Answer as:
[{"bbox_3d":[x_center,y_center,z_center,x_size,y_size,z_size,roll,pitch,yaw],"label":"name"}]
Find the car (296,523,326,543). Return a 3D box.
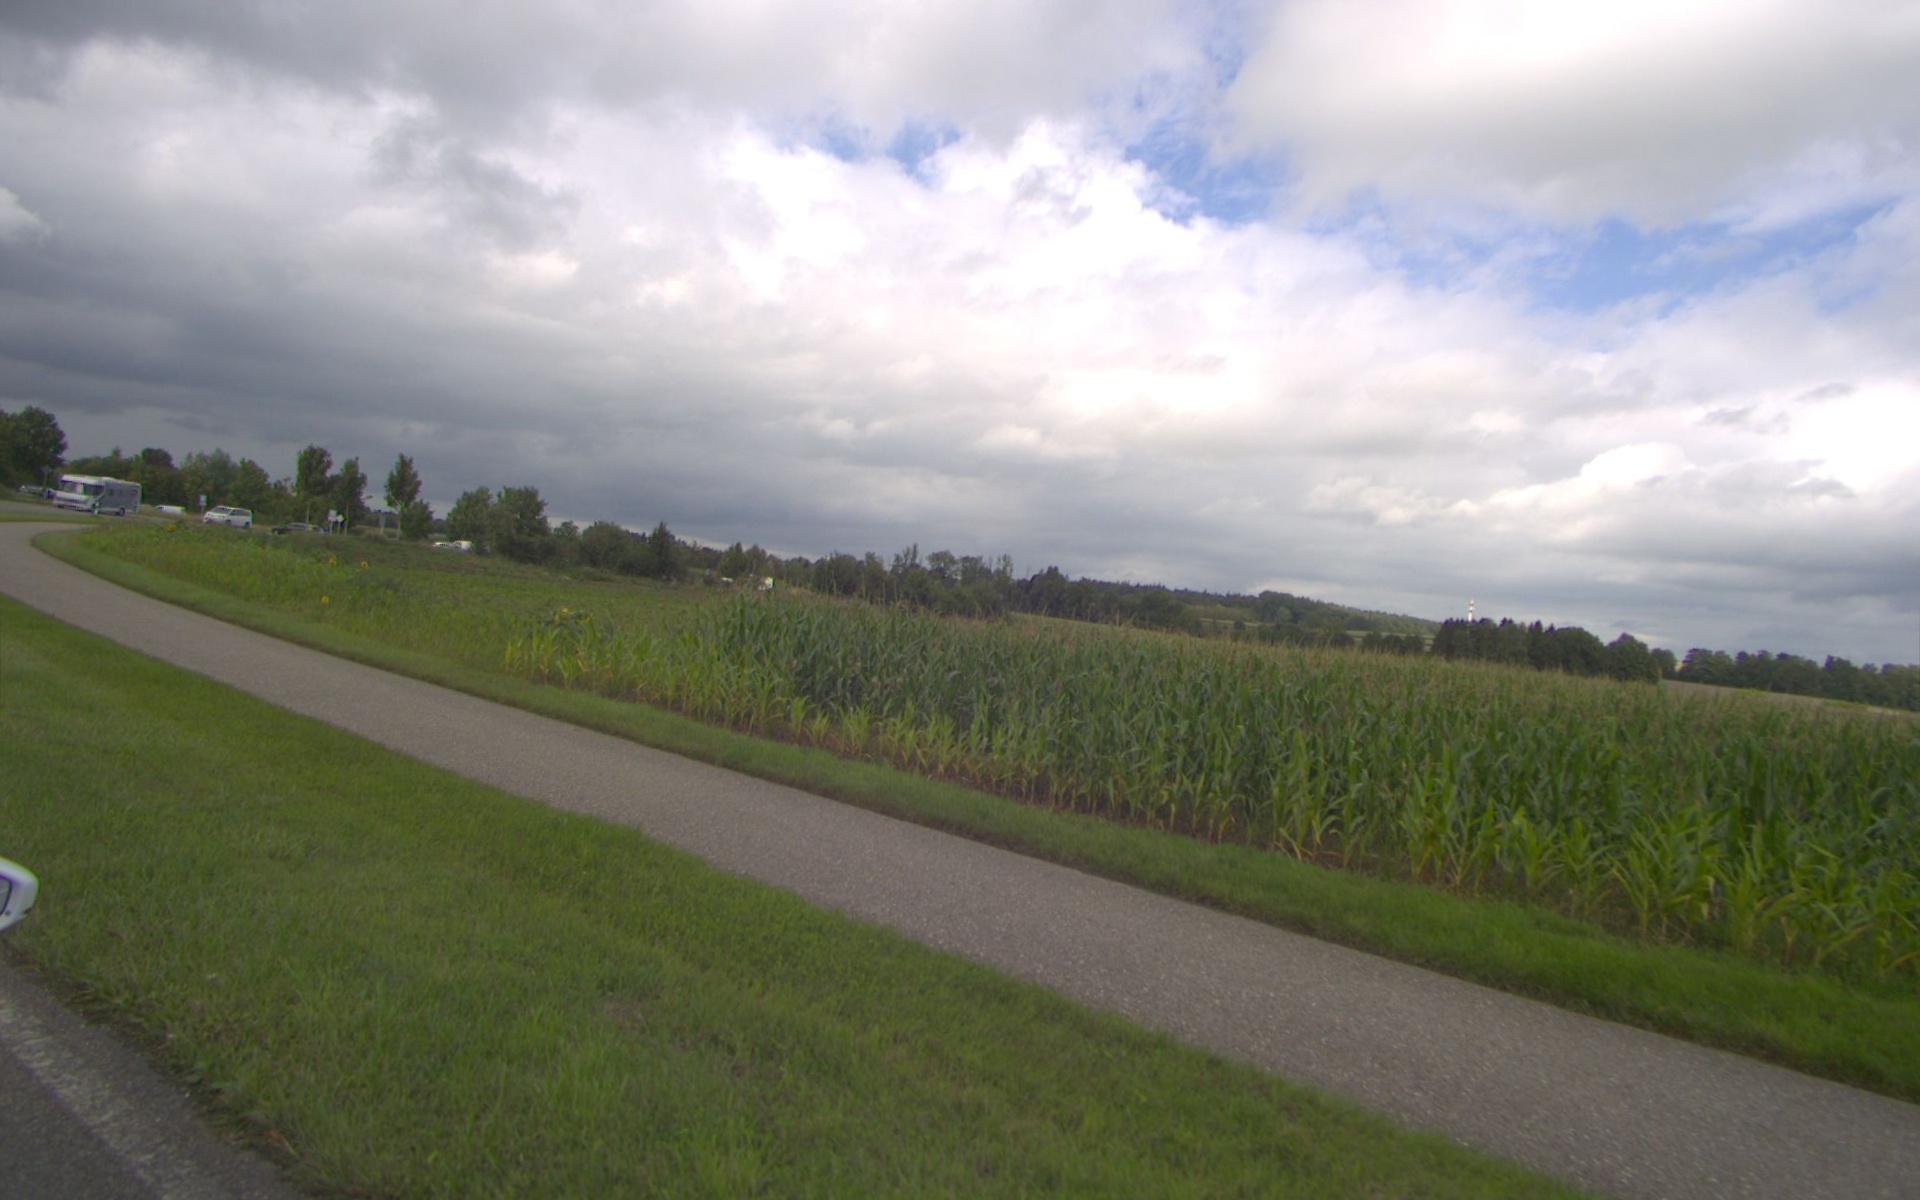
[{"bbox_3d":[-60.470,-6.244,93.694,1.833,1.434,3.957,8,-1,-39],"label":"car"}]

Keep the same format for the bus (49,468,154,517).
[{"bbox_3d":[-66.722,-8.254,78.420,2.444,2.744,8.407,8,-1,-14],"label":"bus"}]

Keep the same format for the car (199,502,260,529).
[{"bbox_3d":[-70.345,-8.122,96.985,2.082,1.891,5.185,7,-1,-3],"label":"car"}]

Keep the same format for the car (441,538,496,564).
[{"bbox_3d":[-54.024,-5.380,110.683,4.879,1.998,1.952,8,0,-9],"label":"car"}]
